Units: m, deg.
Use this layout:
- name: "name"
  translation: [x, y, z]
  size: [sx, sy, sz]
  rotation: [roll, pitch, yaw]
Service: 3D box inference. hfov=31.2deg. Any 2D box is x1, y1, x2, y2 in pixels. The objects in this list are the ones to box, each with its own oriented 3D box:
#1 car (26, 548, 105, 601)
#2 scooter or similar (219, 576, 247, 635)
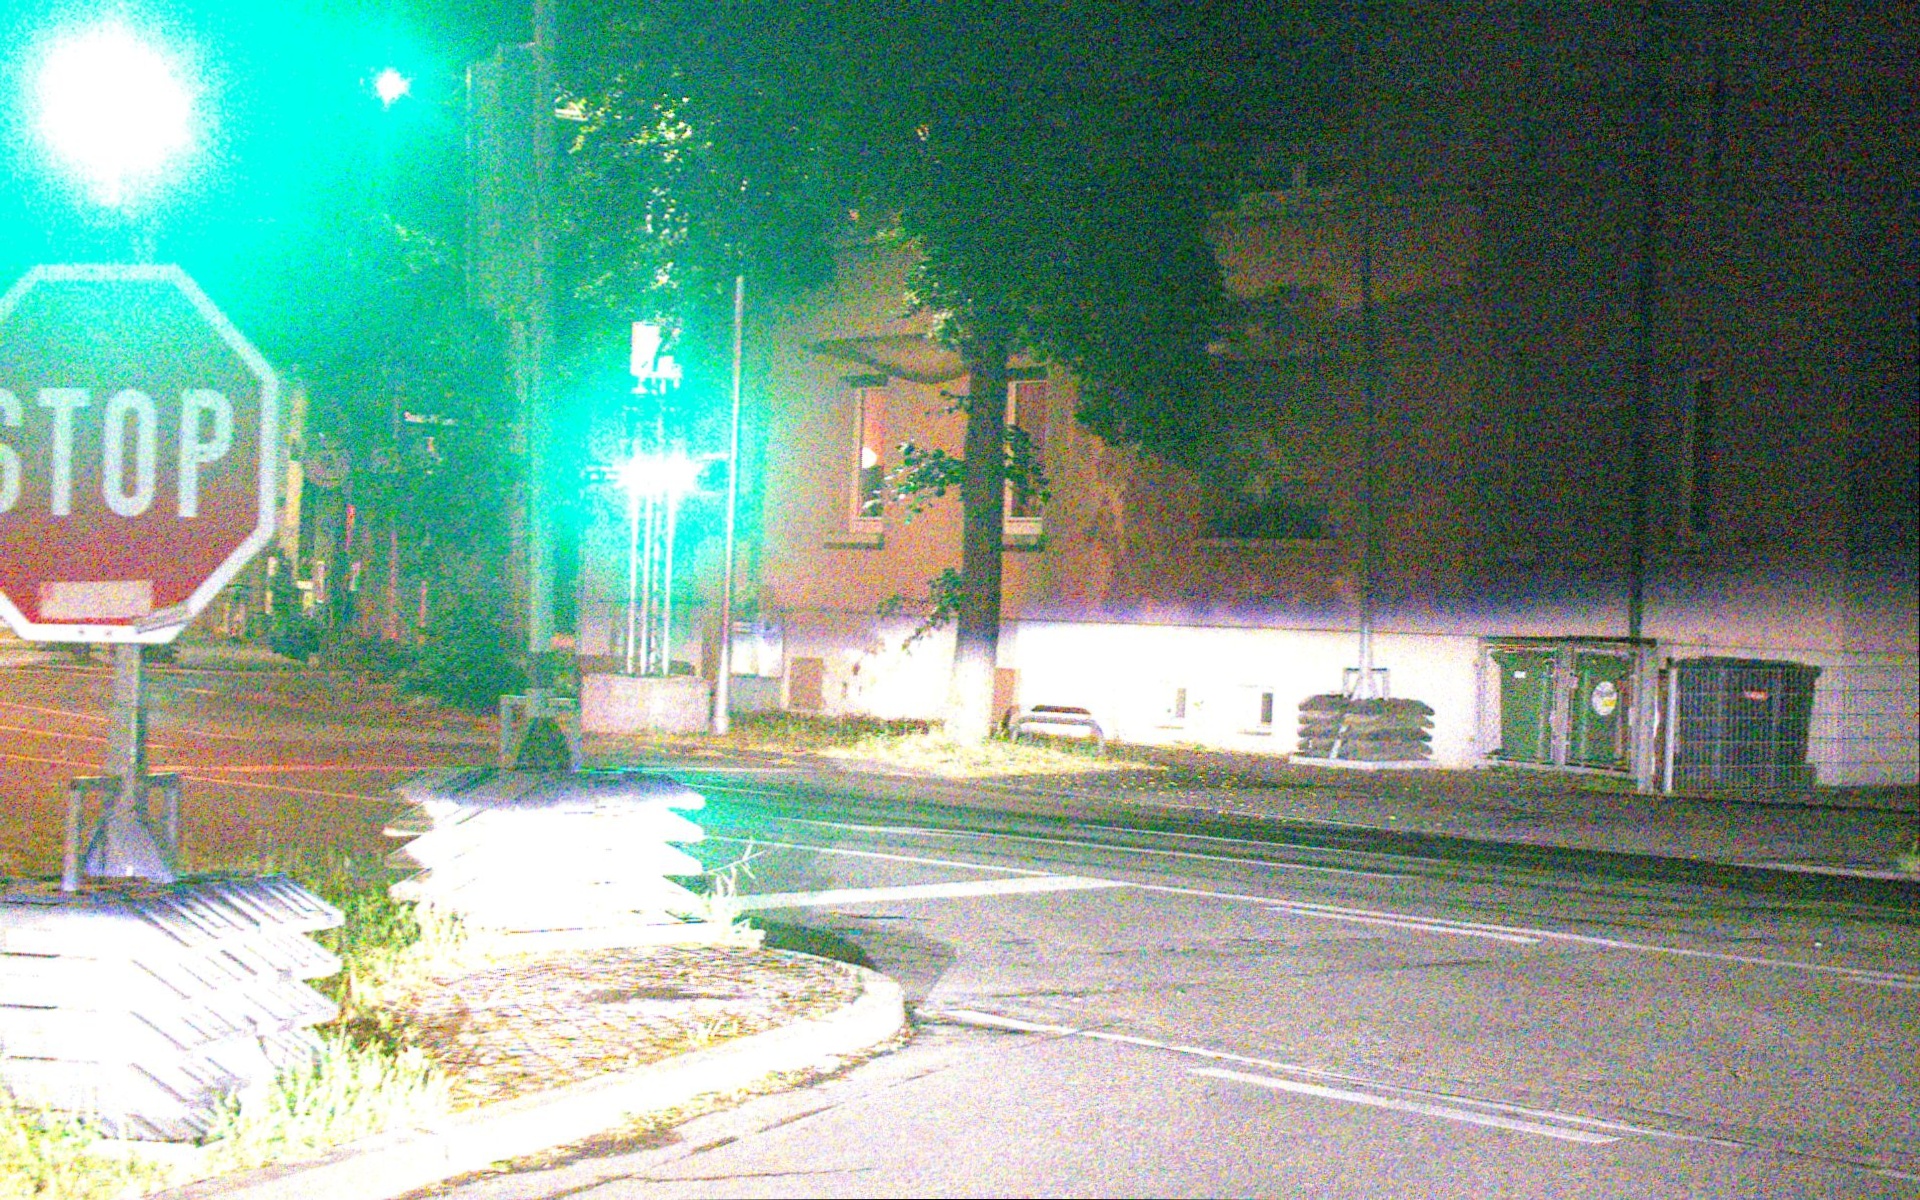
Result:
- name: "car"
  translation: [-26.923, -0.782, 103.332]
  size: [1.733, 1.455, 4.729]
  rotation: [3, 0, -21]
- name: "scooter or similar"
  translation: [-14.375, 0.110, 67.950]
  size: [0.421, 1.126, 1.494]
  rotation: [2, 0, -9]
